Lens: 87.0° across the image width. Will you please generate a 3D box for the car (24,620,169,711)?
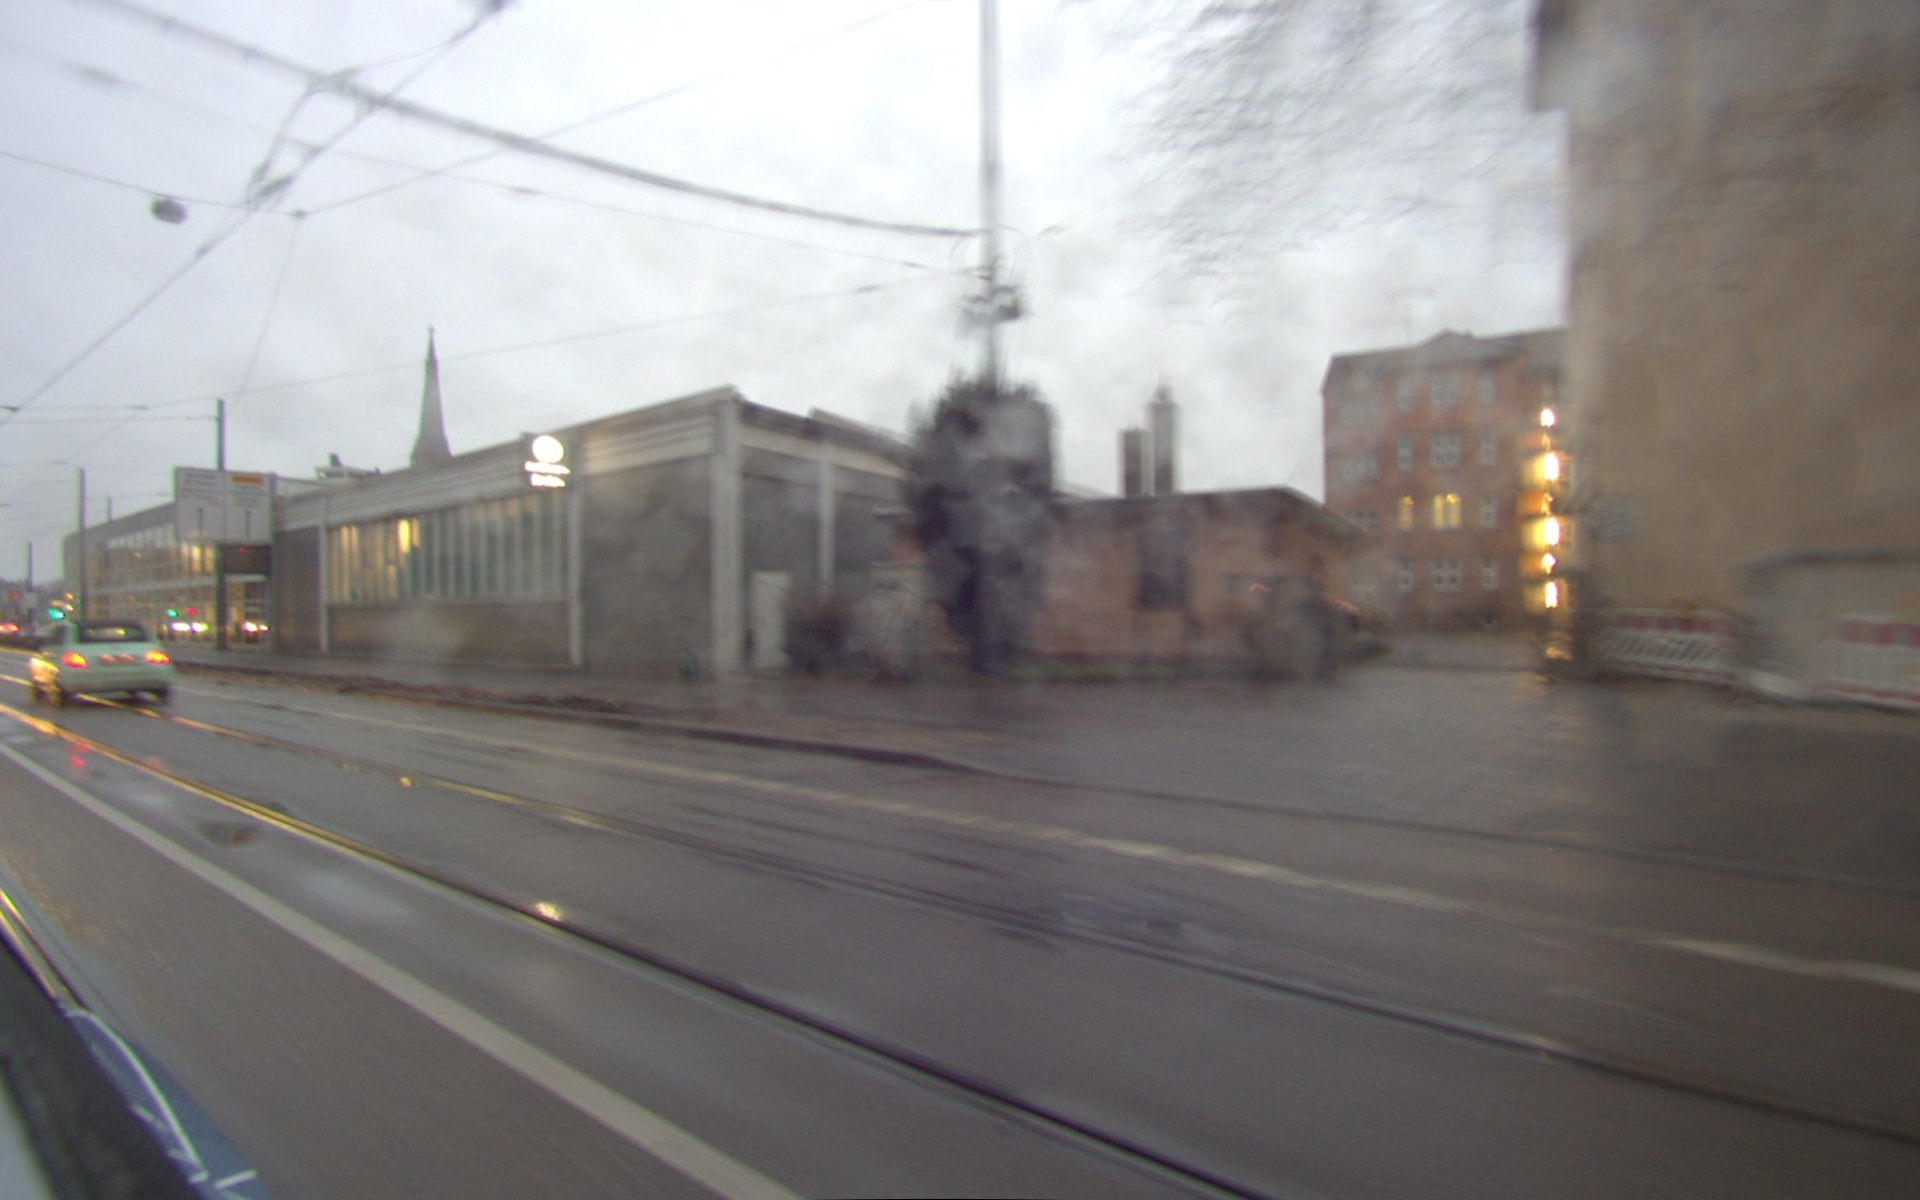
[{"bbox_3d":[-15.776,1.122,18.432,3.559,1.493,1.514,-1,-1,41],"label":"car"}]
